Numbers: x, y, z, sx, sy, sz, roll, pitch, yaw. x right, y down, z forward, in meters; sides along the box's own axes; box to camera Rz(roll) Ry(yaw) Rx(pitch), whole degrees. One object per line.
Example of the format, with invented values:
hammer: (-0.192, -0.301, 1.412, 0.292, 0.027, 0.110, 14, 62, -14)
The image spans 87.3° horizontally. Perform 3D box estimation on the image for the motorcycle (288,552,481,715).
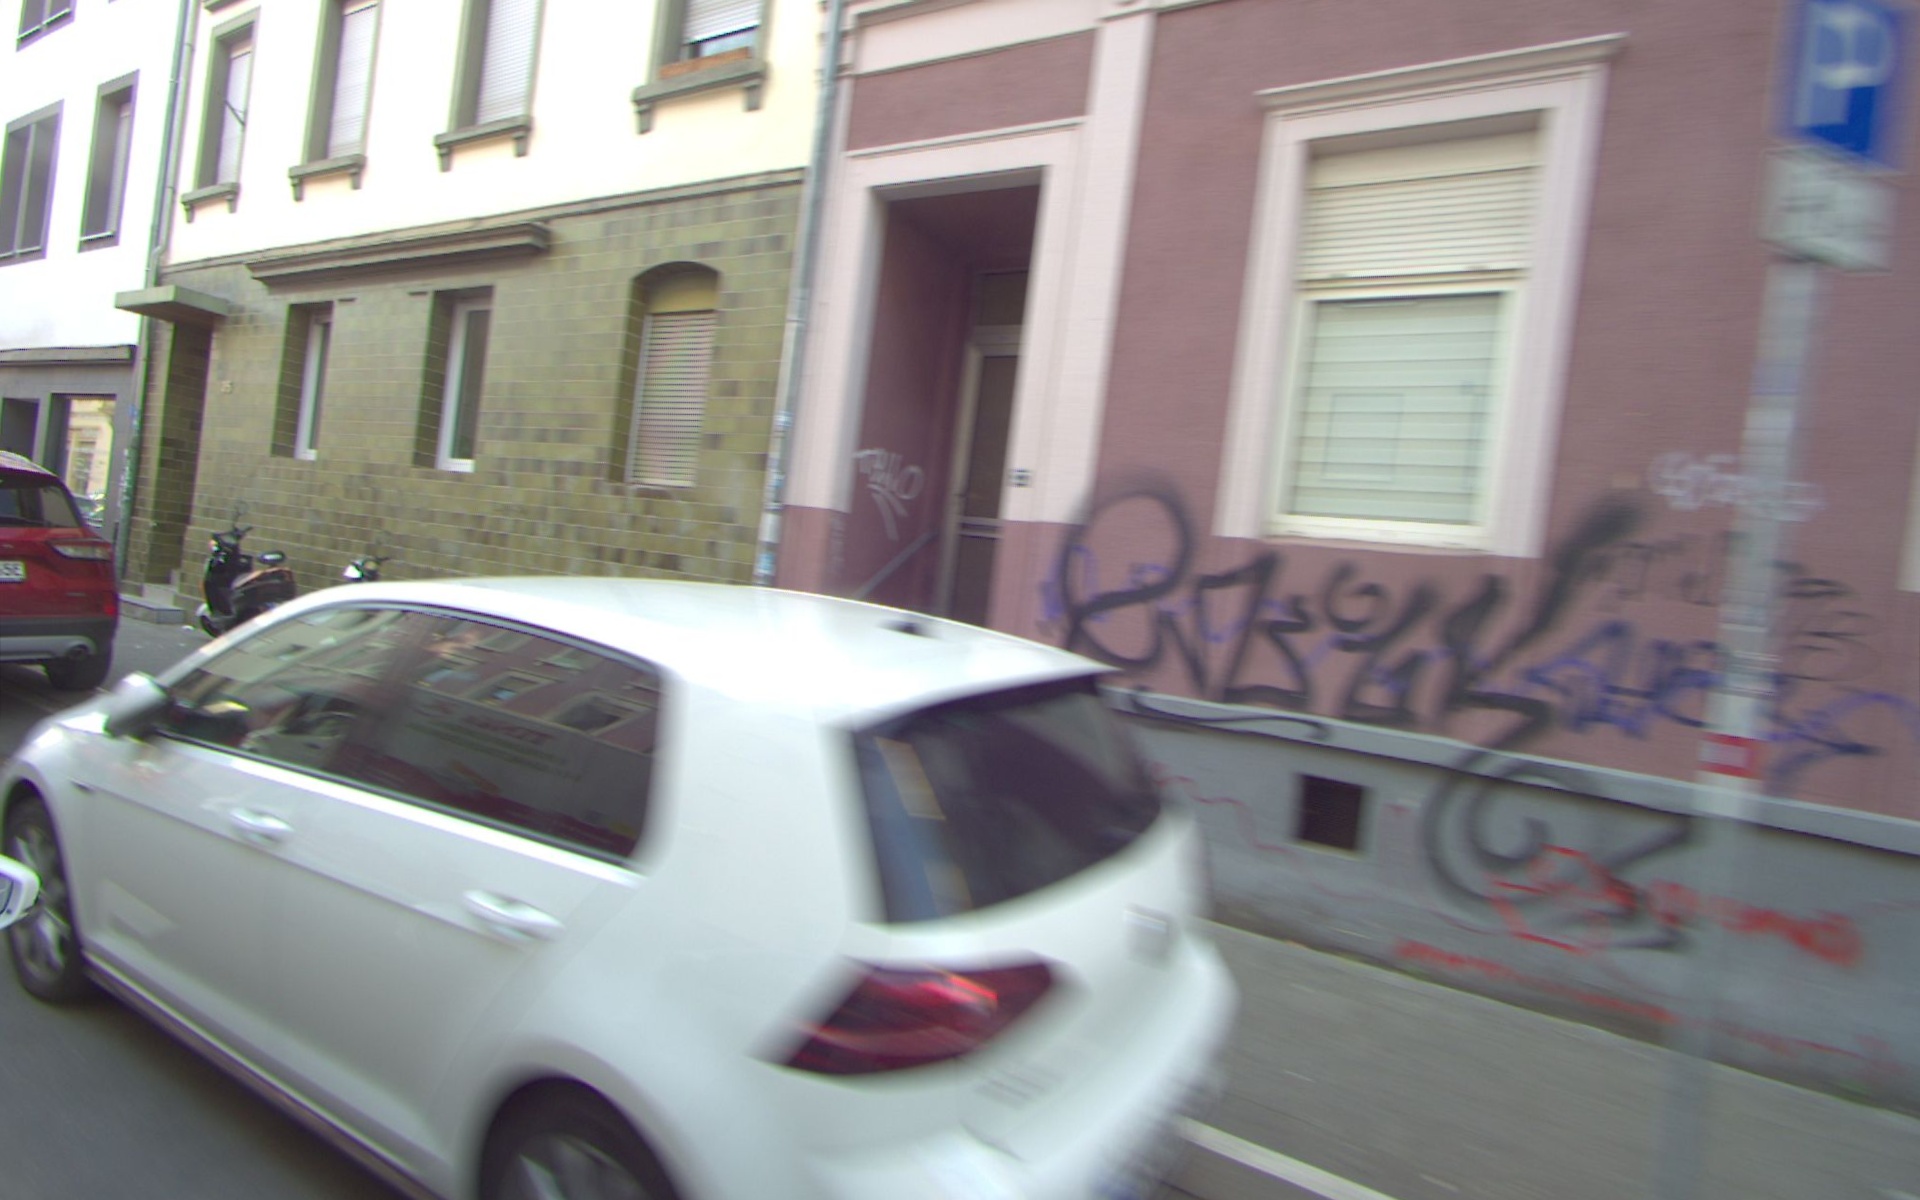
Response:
motorcycle: (-4.777, 0.241, 8.306, 1.746, 1.110, 0.558, 7, 3, 31)

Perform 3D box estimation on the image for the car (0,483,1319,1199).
car: (-1.251, 0.614, 2.984, 3.978, 1.564, 1.687, 7, 2, 31)

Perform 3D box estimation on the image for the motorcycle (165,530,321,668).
motorcycle: (-6.928, -0.034, 9.693, 1.847, 1.110, 0.501, 7, 3, 31)

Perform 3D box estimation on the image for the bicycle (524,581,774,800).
bicycle: (-2.126, 0.566, 6.794, 1.657, 1.187, 0.522, 7, 0, 31)

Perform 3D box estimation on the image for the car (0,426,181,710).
car: (-7.721, -0.426, 7.170, 4.293, 1.727, 1.920, 7, 0, 31)
